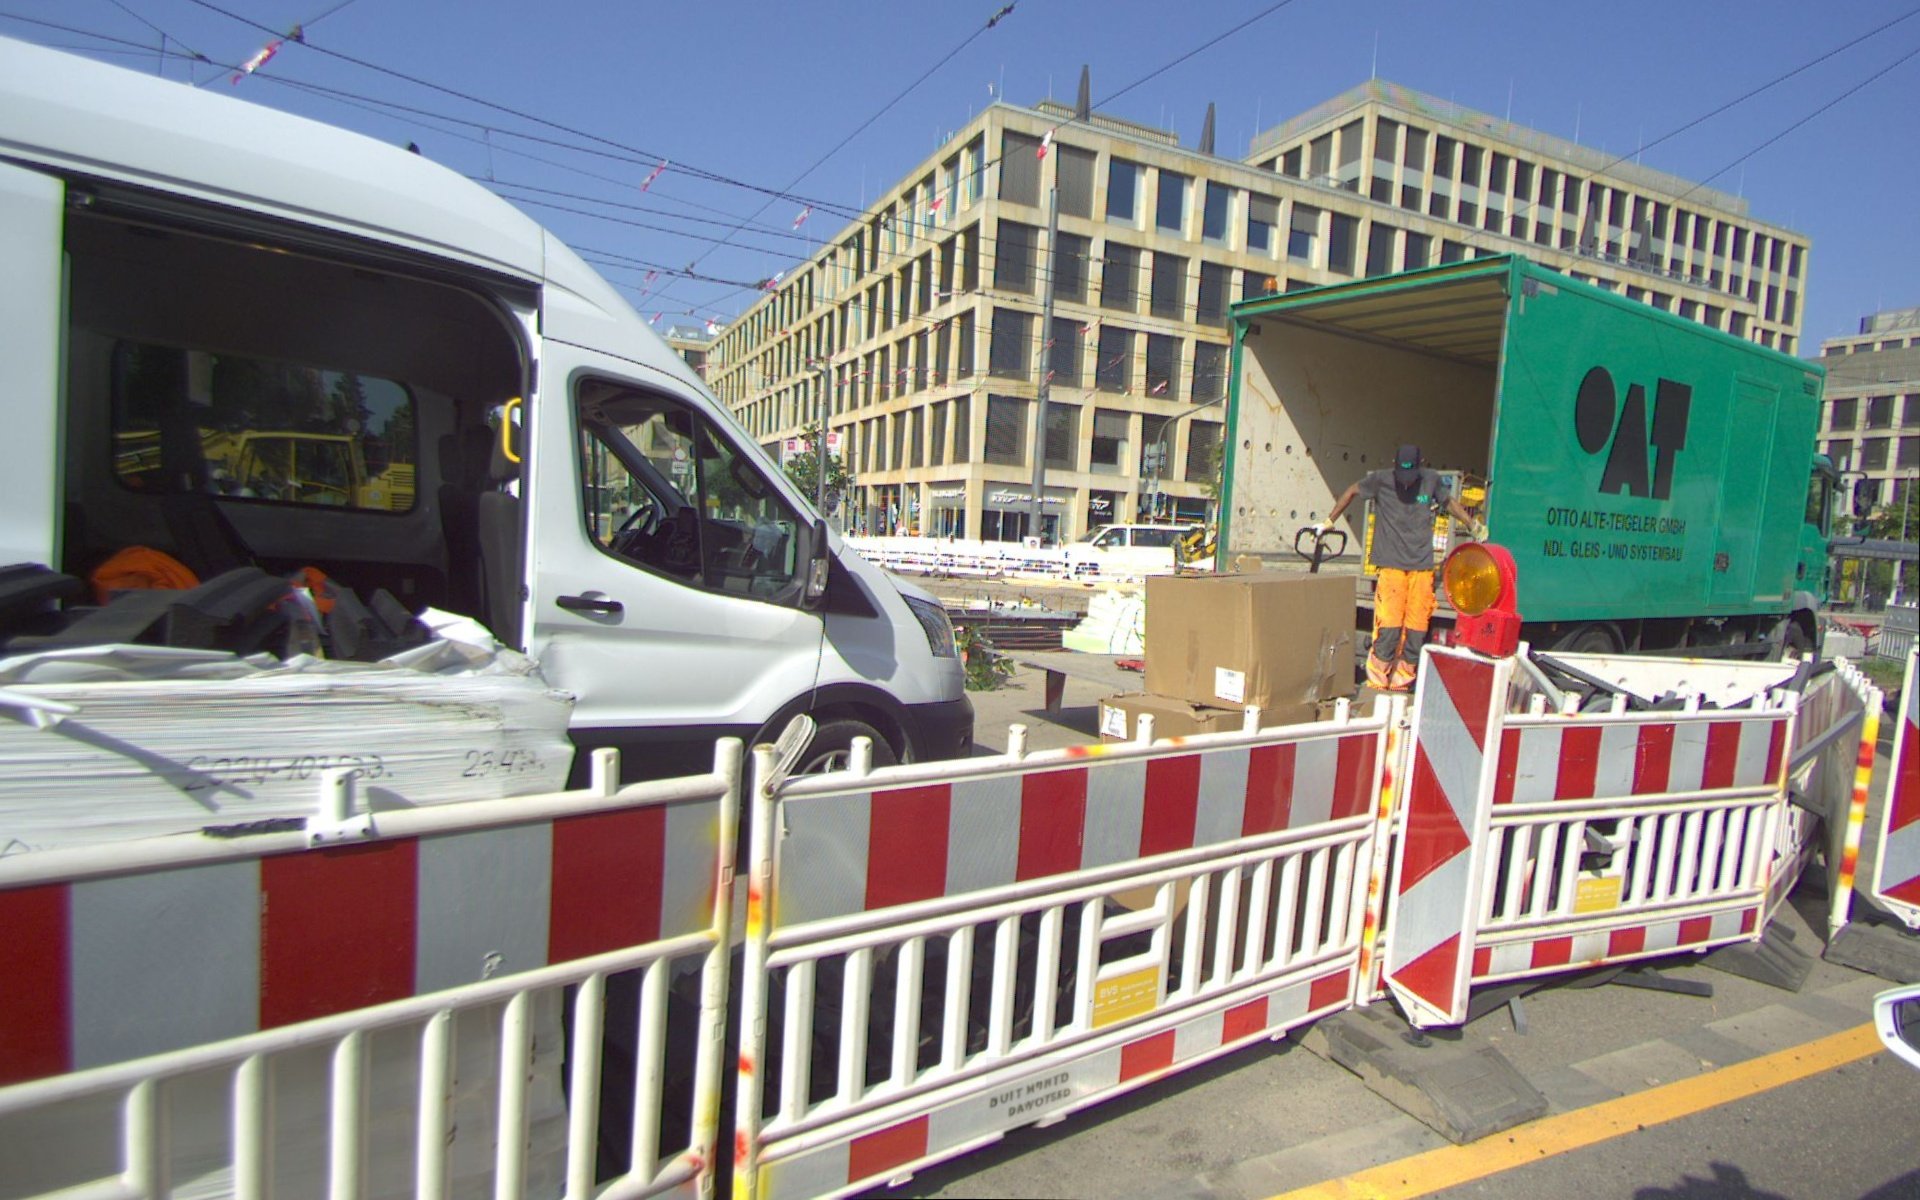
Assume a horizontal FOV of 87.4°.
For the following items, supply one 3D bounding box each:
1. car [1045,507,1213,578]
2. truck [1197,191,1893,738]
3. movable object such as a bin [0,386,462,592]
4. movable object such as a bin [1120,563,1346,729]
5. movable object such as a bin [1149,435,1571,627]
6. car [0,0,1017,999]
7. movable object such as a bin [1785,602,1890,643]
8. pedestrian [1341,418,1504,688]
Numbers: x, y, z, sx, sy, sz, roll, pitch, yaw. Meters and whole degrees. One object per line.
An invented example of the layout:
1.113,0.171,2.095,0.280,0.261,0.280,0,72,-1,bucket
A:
5.466,-1.885,32.744,5.025,2.058,1.814,2,4,-8,car
6.346,-1.011,10.281,8.127,3.728,2.657,0,5,-34,truck
-14.484,-2.020,19.702,8.228,3.375,2.839,1,4,-23,movable object such as a bin
2.005,0.322,7.407,1.459,1.107,0.642,1,4,-21,movable object such as a bin
9.545,-1.680,24.927,8.864,4.068,3.514,2,4,-1,movable object such as a bin
-2.512,-0.447,3.763,5.121,2.766,2.209,0,5,-36,car
17.646,0.432,20.242,0.688,0.661,1.509,2,4,-3,movable object such as a bin
3.127,-0.326,6.870,0.750,1.717,0.707,4,4,11,pedestrian
